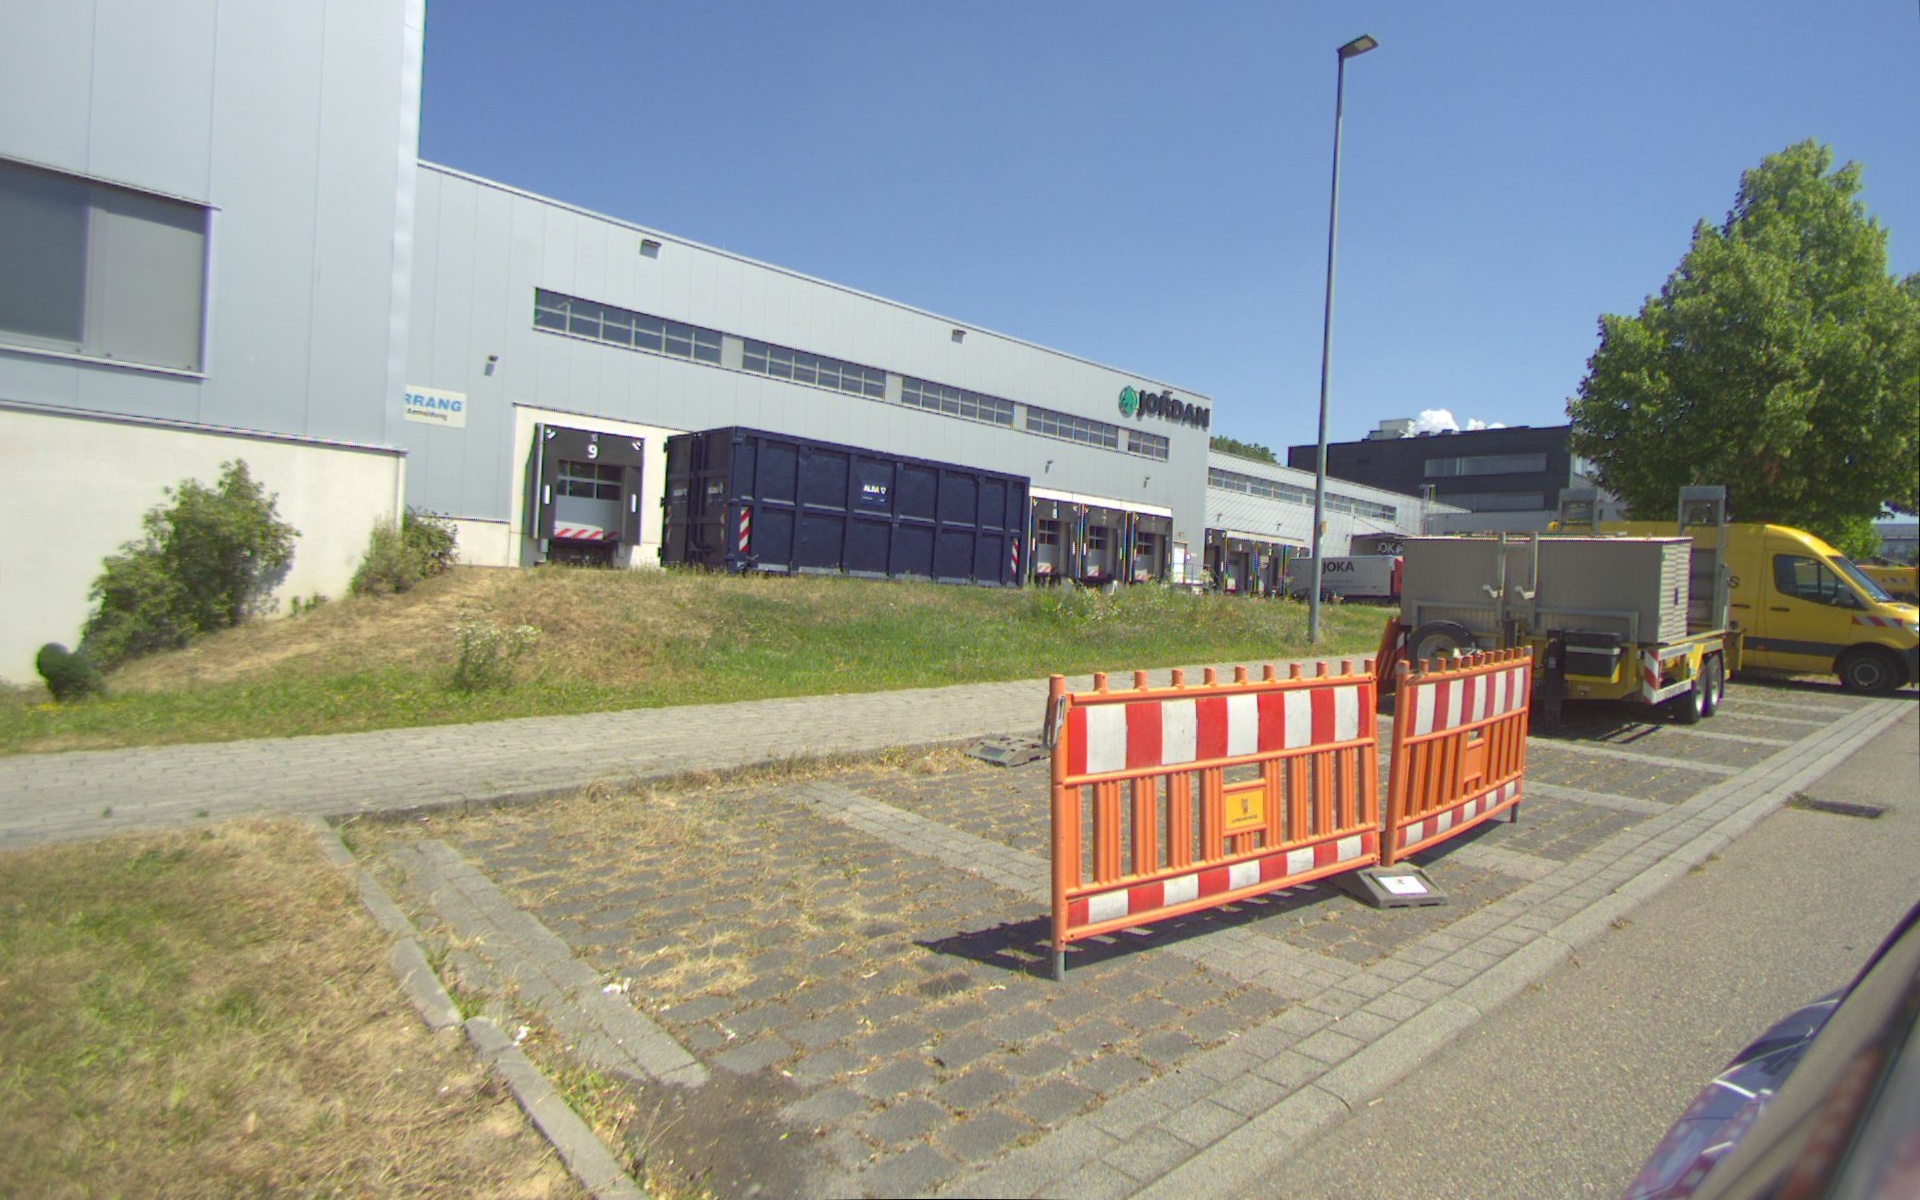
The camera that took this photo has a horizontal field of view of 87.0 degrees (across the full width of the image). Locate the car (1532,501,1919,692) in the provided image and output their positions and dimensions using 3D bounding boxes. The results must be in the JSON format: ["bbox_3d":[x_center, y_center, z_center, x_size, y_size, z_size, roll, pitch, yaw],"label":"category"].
[{"bbox_3d":[13.200,-0.227,17.027,1.965,2.765,5.793,0,4,-40],"label":"car"}]

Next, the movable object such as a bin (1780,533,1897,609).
[{"bbox_3d":[33.008,-1.081,37.966,6.456,2.613,1.999,-1,2,-37],"label":"movable object such as a bin"}]

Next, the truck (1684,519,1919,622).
[{"bbox_3d":[28.488,-1.057,33.977,6.407,3.174,2.554,3,4,45],"label":"truck"}]

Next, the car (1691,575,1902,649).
[{"bbox_3d":[20.114,0.225,24.445,1.599,1.480,3.668,0,4,-41],"label":"car"}]

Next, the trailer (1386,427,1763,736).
[{"bbox_3d":[7.671,-0.265,12.334,2.658,2.892,5.432,5,4,44],"label":"trailer"}]

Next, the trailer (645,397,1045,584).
[{"bbox_3d":[-1.924,-1.791,19.380,7.280,2.452,2.664,5,-2,-40],"label":"trailer"}]
